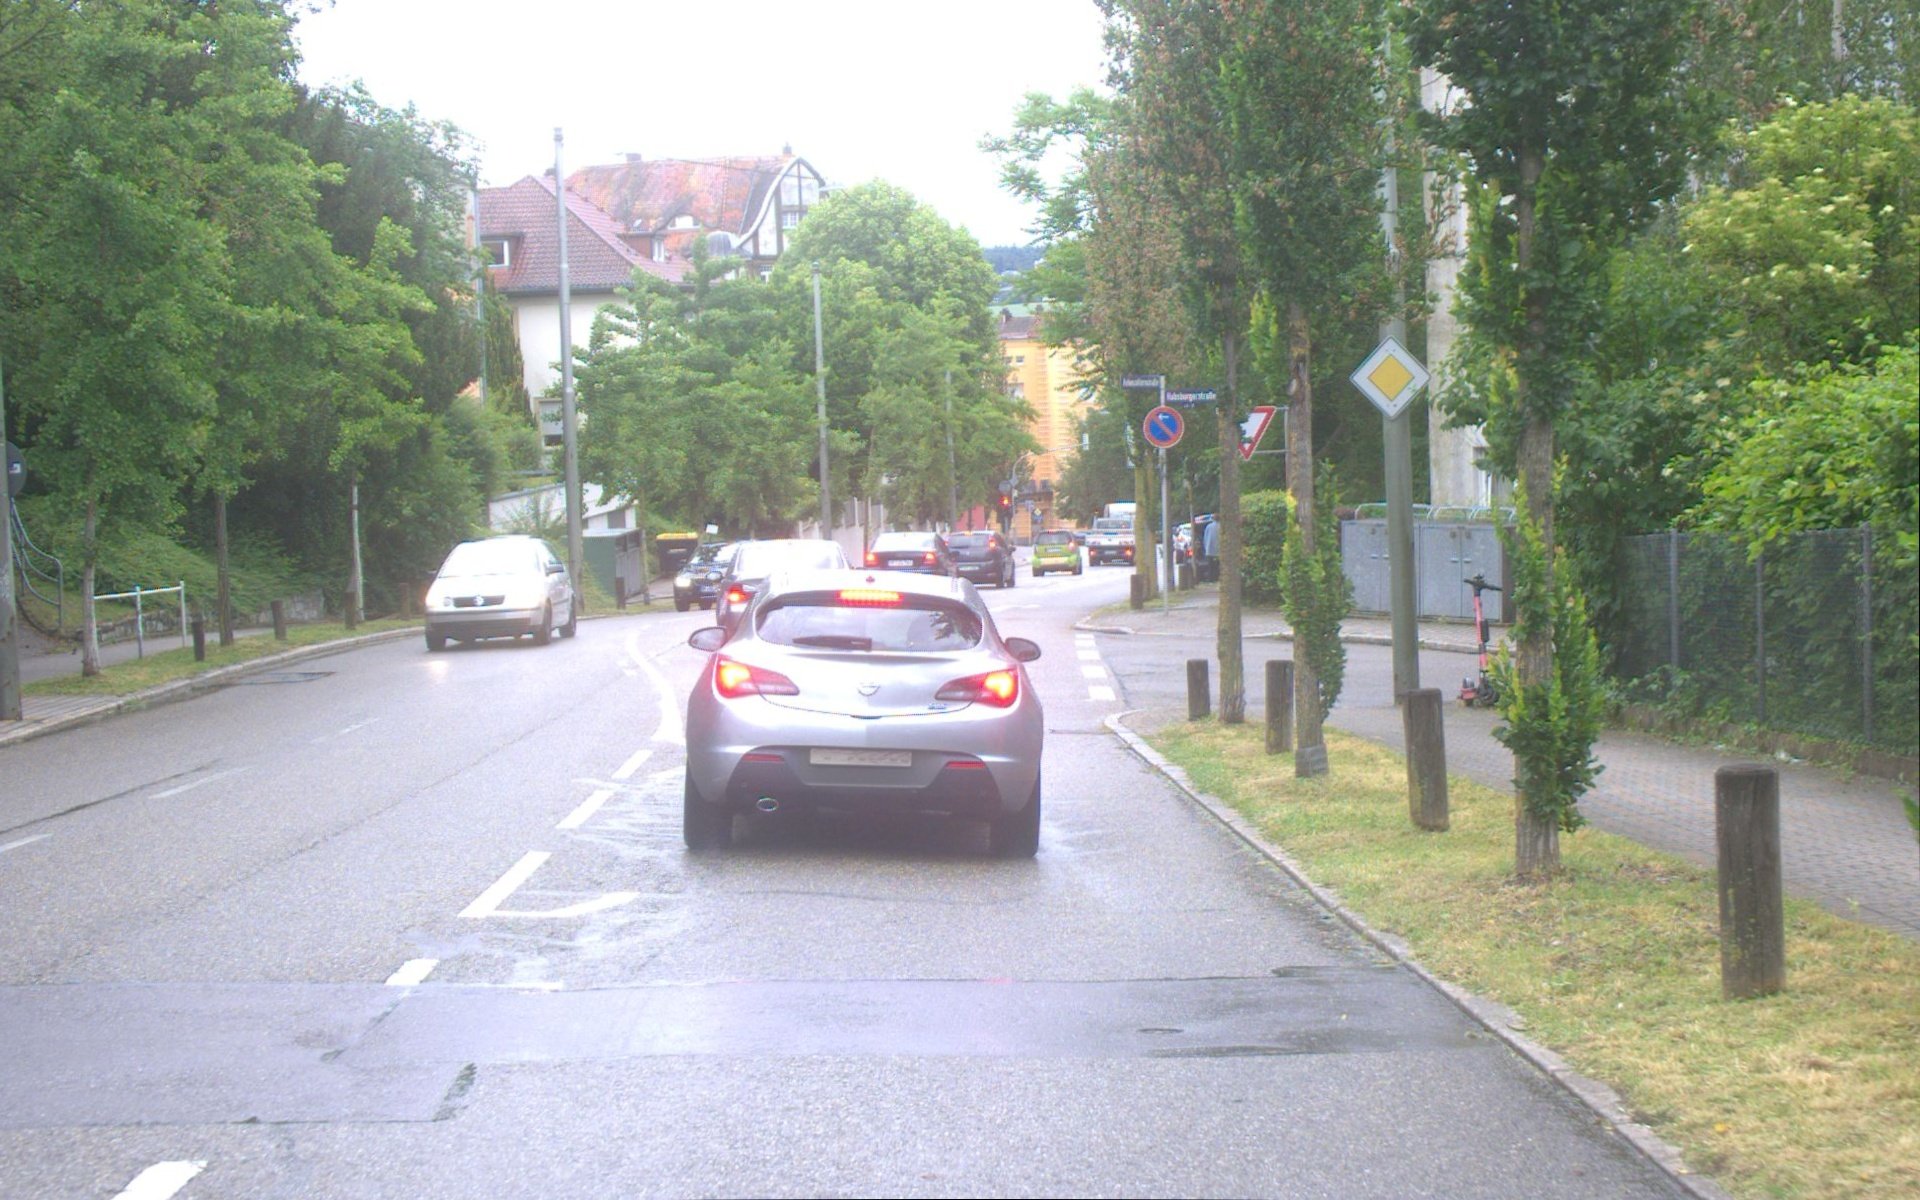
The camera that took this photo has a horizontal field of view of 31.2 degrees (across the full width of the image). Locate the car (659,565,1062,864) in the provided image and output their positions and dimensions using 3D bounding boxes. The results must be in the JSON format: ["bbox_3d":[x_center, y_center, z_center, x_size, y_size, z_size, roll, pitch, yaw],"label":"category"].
[{"bbox_3d":[-0.520,0.542,18.801,1.945,1.427,3.884,1,1,-1],"label":"car"}]

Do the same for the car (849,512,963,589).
[{"bbox_3d":[-1.091,-1.046,71.485,1.961,1.467,3.950,2,2,4],"label":"car"}]

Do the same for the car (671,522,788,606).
[{"bbox_3d":[-4.828,-0.769,72.597,1.911,1.579,4.586,-4,1,2],"label":"car"}]

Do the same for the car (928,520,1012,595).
[{"bbox_3d":[0.275,-1.089,86.464,1.769,1.775,3.976,2,2,4],"label":"car"}]

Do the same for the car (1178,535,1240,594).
[{"bbox_3d":[6.487,-0.922,89.225,1.504,1.430,3.999,-2,0,5],"label":"car"}]

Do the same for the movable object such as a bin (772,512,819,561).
[{"bbox_3d":[-4.663,-1.786,97.227,1.272,1.382,0.489,0,2,4],"label":"movable object such as a bin"}]

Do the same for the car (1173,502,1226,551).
[{"bbox_3d":[10.311,-3.182,147.695,1.994,2.029,4.734,2,2,6],"label":"car"}]

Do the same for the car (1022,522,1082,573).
[{"bbox_3d":[3.089,-1.766,115.254,1.754,1.645,3.999,2,1,4],"label":"car"}]

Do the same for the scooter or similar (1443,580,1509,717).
[{"bbox_3d":[4.848,0.446,32.341,0.342,1.250,1.267,2,0,-2],"label":"scooter or similar"}]

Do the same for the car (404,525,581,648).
[{"bbox_3d":[-6.339,-0.219,46.962,1.765,1.481,3.801,-3,2,1],"label":"car"}]

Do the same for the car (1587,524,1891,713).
[{"bbox_3d":[6.660,0.108,29.791,1.503,1.430,4.001,3,2,-2],"label":"car"}]

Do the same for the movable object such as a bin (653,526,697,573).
[{"bbox_3d":[-8.557,-1.519,103.263,1.272,1.382,0.489,0,2,4],"label":"movable object such as a bin"}]

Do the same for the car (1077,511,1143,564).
[{"bbox_3d":[6.172,-2.577,140.907,2.334,2.029,4.734,2,2,7],"label":"car"}]

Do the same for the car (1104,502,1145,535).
[{"bbox_3d":[9.292,-4.601,194.173,1.994,1.778,3.999,2,2,7],"label":"car"}]

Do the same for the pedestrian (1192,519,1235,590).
[{"bbox_3d":[6.387,-1.142,86.493,0.734,1.718,0.765,-4,1,-19],"label":"pedestrian"}]

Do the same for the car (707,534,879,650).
[{"bbox_3d":[-1.957,-0.124,41.225,1.798,1.318,4.000,0,1,1],"label":"car"}]
